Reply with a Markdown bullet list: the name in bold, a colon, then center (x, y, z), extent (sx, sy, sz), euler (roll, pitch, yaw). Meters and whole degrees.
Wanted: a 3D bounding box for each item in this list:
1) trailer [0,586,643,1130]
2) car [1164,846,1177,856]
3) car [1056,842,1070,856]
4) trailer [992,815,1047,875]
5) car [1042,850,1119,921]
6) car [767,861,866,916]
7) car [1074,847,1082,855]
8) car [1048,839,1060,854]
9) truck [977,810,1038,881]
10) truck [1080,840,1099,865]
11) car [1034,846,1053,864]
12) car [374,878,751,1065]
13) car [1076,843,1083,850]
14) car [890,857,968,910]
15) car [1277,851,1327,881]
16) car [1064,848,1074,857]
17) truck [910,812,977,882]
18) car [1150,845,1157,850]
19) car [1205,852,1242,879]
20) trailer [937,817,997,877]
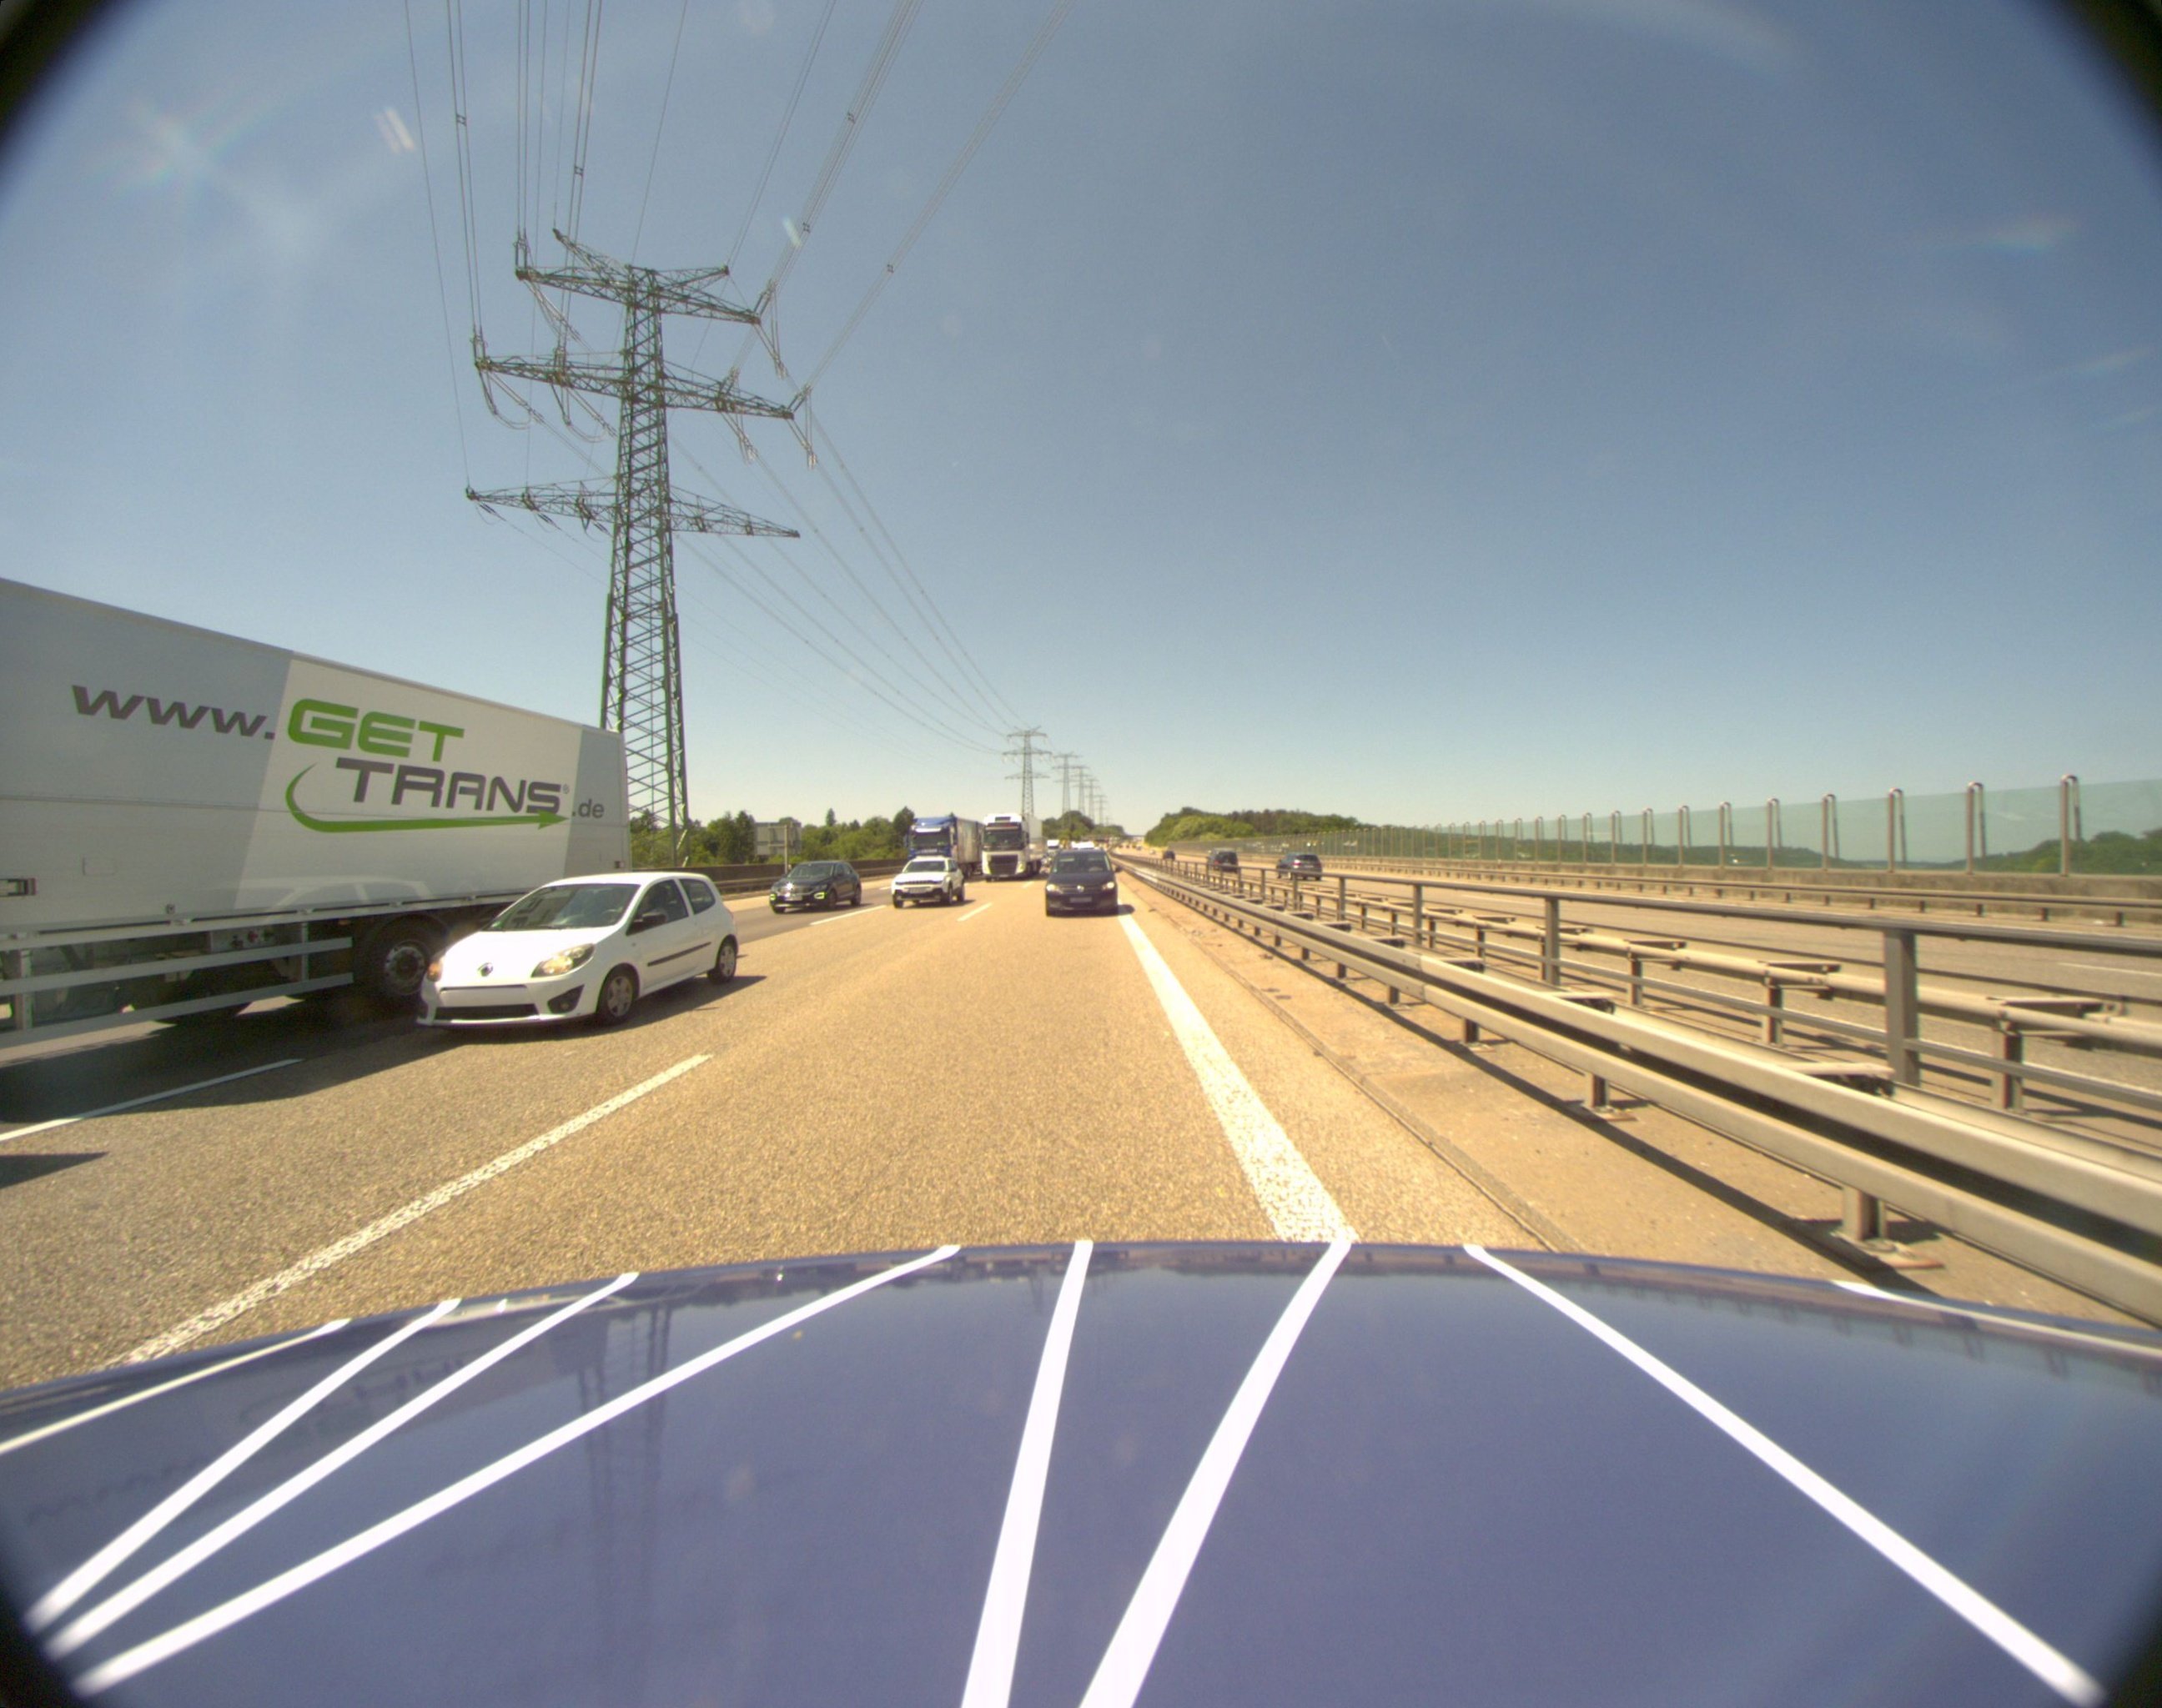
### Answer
- **trailer**: center (-8.538, 0.050, 8.088), extent (2.852, 3.573, 8.290), euler (-2, 0, 0)
- **car**: center (15.185, -0.533, 129.509), extent (1.784, 1.560, 4.387), euler (1, 1, 2)
- **car**: center (-2.815, -0.819, 118.300), extent (1.998, 2.002, 3.999), euler (-2, 1, 1)
- **trailer**: center (-4.262, -0.652, 54.490), extent (2.898, 3.847, 9.773), euler (-2, 1, 1)
- **car**: center (-0.007, 0.727, 19.579), extent (1.739, 1.607, 3.911), euler (-2, 0, 0)
- **car**: center (-8.294, 1.029, 24.216), extent (1.709, 1.497, 3.888), euler (-2, 0, 1)
- **car**: center (-0.779, -0.809, 189.655), extent (1.890, 2.002, 3.999), euler (-2, 1, 0)
- **car**: center (-6.051, -1.762, 171.128), extent (2.273, 3.304, 6.288), euler (-2, 1, 0)
- **truck**: center (-4.335, -0.517, 46.239), extent (2.914, 3.870, 6.739), euler (-2, 1, 0)
- **truck**: center (0.999, -0.223, 89.061), extent (2.100, 2.700, 5.864), euler (-2, 1, 1)
- **car**: center (-3.965, 0.099, 80.274), extent (1.672, 1.761, 3.846), euler (-2, 1, 1)
- **car**: center (-5.261, 1.075, 8.371), extent (1.583, 1.432, 3.629), euler (-2, 0, 1)
- **car**: center (-0.480, -2.064, 211.301), extent (1.782, 2.002, 3.999), euler (-2, 1, 0)
- **car**: center (-4.846, 0.897, 24.742), extent (1.722, 1.526, 3.753), euler (-2, 0, 0)
- **car**: center (12.649, 0.649, 43.712), extent (1.759, 1.538, 3.999), euler (1, 1, 1)
- **car**: center (-2.378, -0.311, 150.362), extent (1.701, 1.599, 3.639), euler (-2, 1, 1)
- **truck**: center (-8.480, -0.405, 47.664), extent (2.517, 3.945, 7.927), euler (-2, 0, 1)
- **car**: center (21.131, -1.879, 221.571), extent (1.608, 1.386, 3.676), euler (1, 1, 1)
- **car**: center (9.735, 0.816, 52.088), extent (1.759, 1.710, 4.102), euler (-2, -1, 1)
- **trailer**: center (-8.341, -0.573, 57.076), extent (2.543, 3.971, 10.884), euler (-2, 1, 1)
